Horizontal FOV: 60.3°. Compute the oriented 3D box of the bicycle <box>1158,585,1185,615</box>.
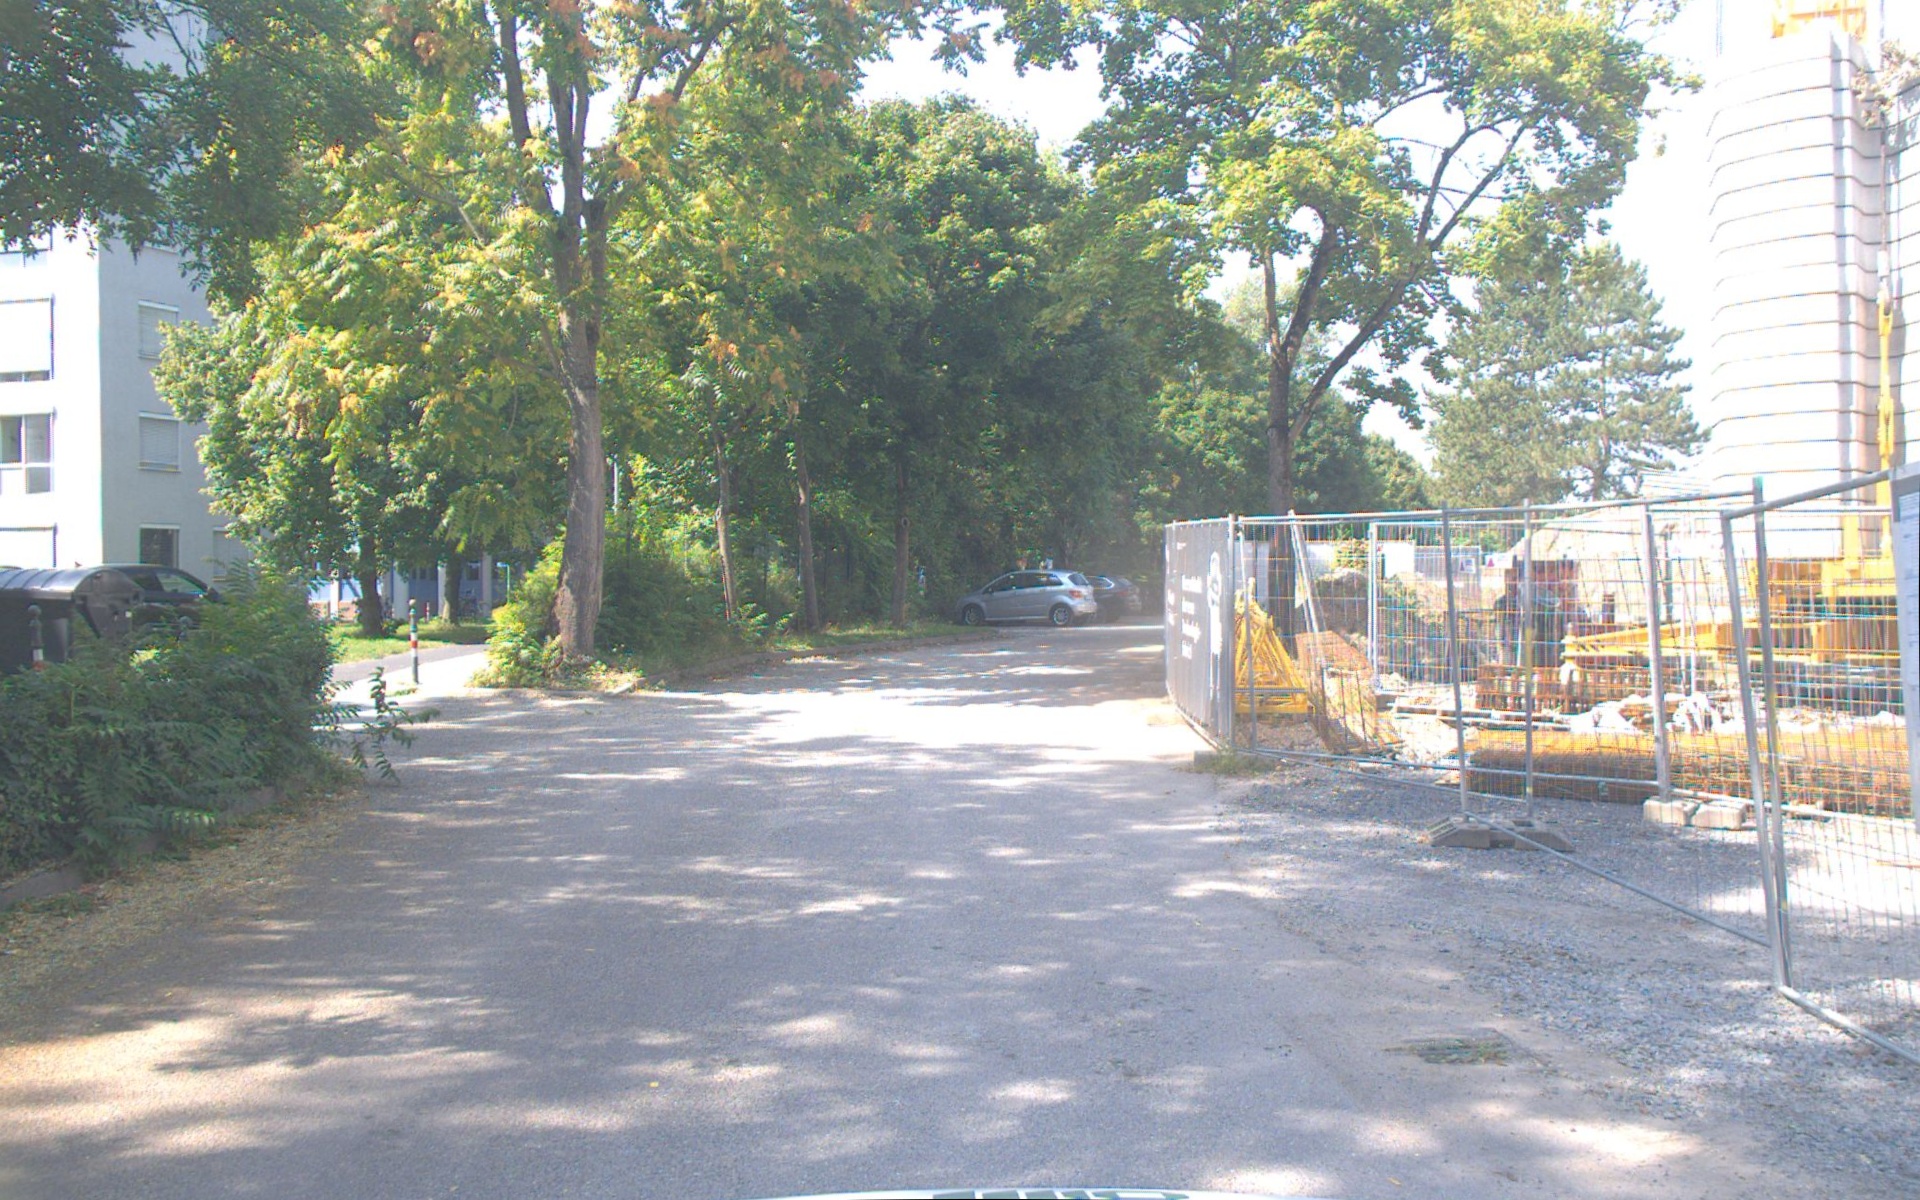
[{"bbox_3d":[8.091,-0.015,63.308,0.489,1.127,1.799,1,1,25],"label":"bicycle"}]

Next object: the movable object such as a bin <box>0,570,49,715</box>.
[{"bbox_3d":[-10.312,0.419,16.845,1.299,1.457,1.251,1,0,14],"label":"movable object such as a bin"}]

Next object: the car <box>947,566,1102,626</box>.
[{"bbox_3d":[1.885,-0.148,48.016,4.063,1.640,2.000,1,1,22],"label":"car"}]

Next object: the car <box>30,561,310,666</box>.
[{"bbox_3d":[-12.663,0.177,26.749,1.669,1.554,3.908,0,1,26],"label":"car"}]

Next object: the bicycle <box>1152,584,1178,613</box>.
[{"bbox_3d":[8.100,-0.059,65.321,0.489,1.127,1.799,1,1,25],"label":"bicycle"}]

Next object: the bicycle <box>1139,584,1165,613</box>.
[{"bbox_3d":[7.602,-0.053,65.501,0.489,1.127,1.799,1,1,25],"label":"bicycle"}]

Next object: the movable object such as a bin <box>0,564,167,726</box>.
[{"bbox_3d":[-8.850,0.412,16.309,1.339,1.519,1.337,1,0,6],"label":"movable object such as a bin"}]

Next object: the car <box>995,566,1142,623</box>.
[{"bbox_3d":[3.311,-0.182,50.320,4.063,1.640,2.000,1,1,22],"label":"car"}]

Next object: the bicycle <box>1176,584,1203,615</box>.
[{"bbox_3d":[8.702,-0.029,62.679,0.489,1.127,1.799,1,1,25],"label":"bicycle"}]

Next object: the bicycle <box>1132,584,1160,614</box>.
[{"bbox_3d":[7.145,-0.033,63.398,0.489,1.127,1.799,1,1,25],"label":"bicycle"}]
